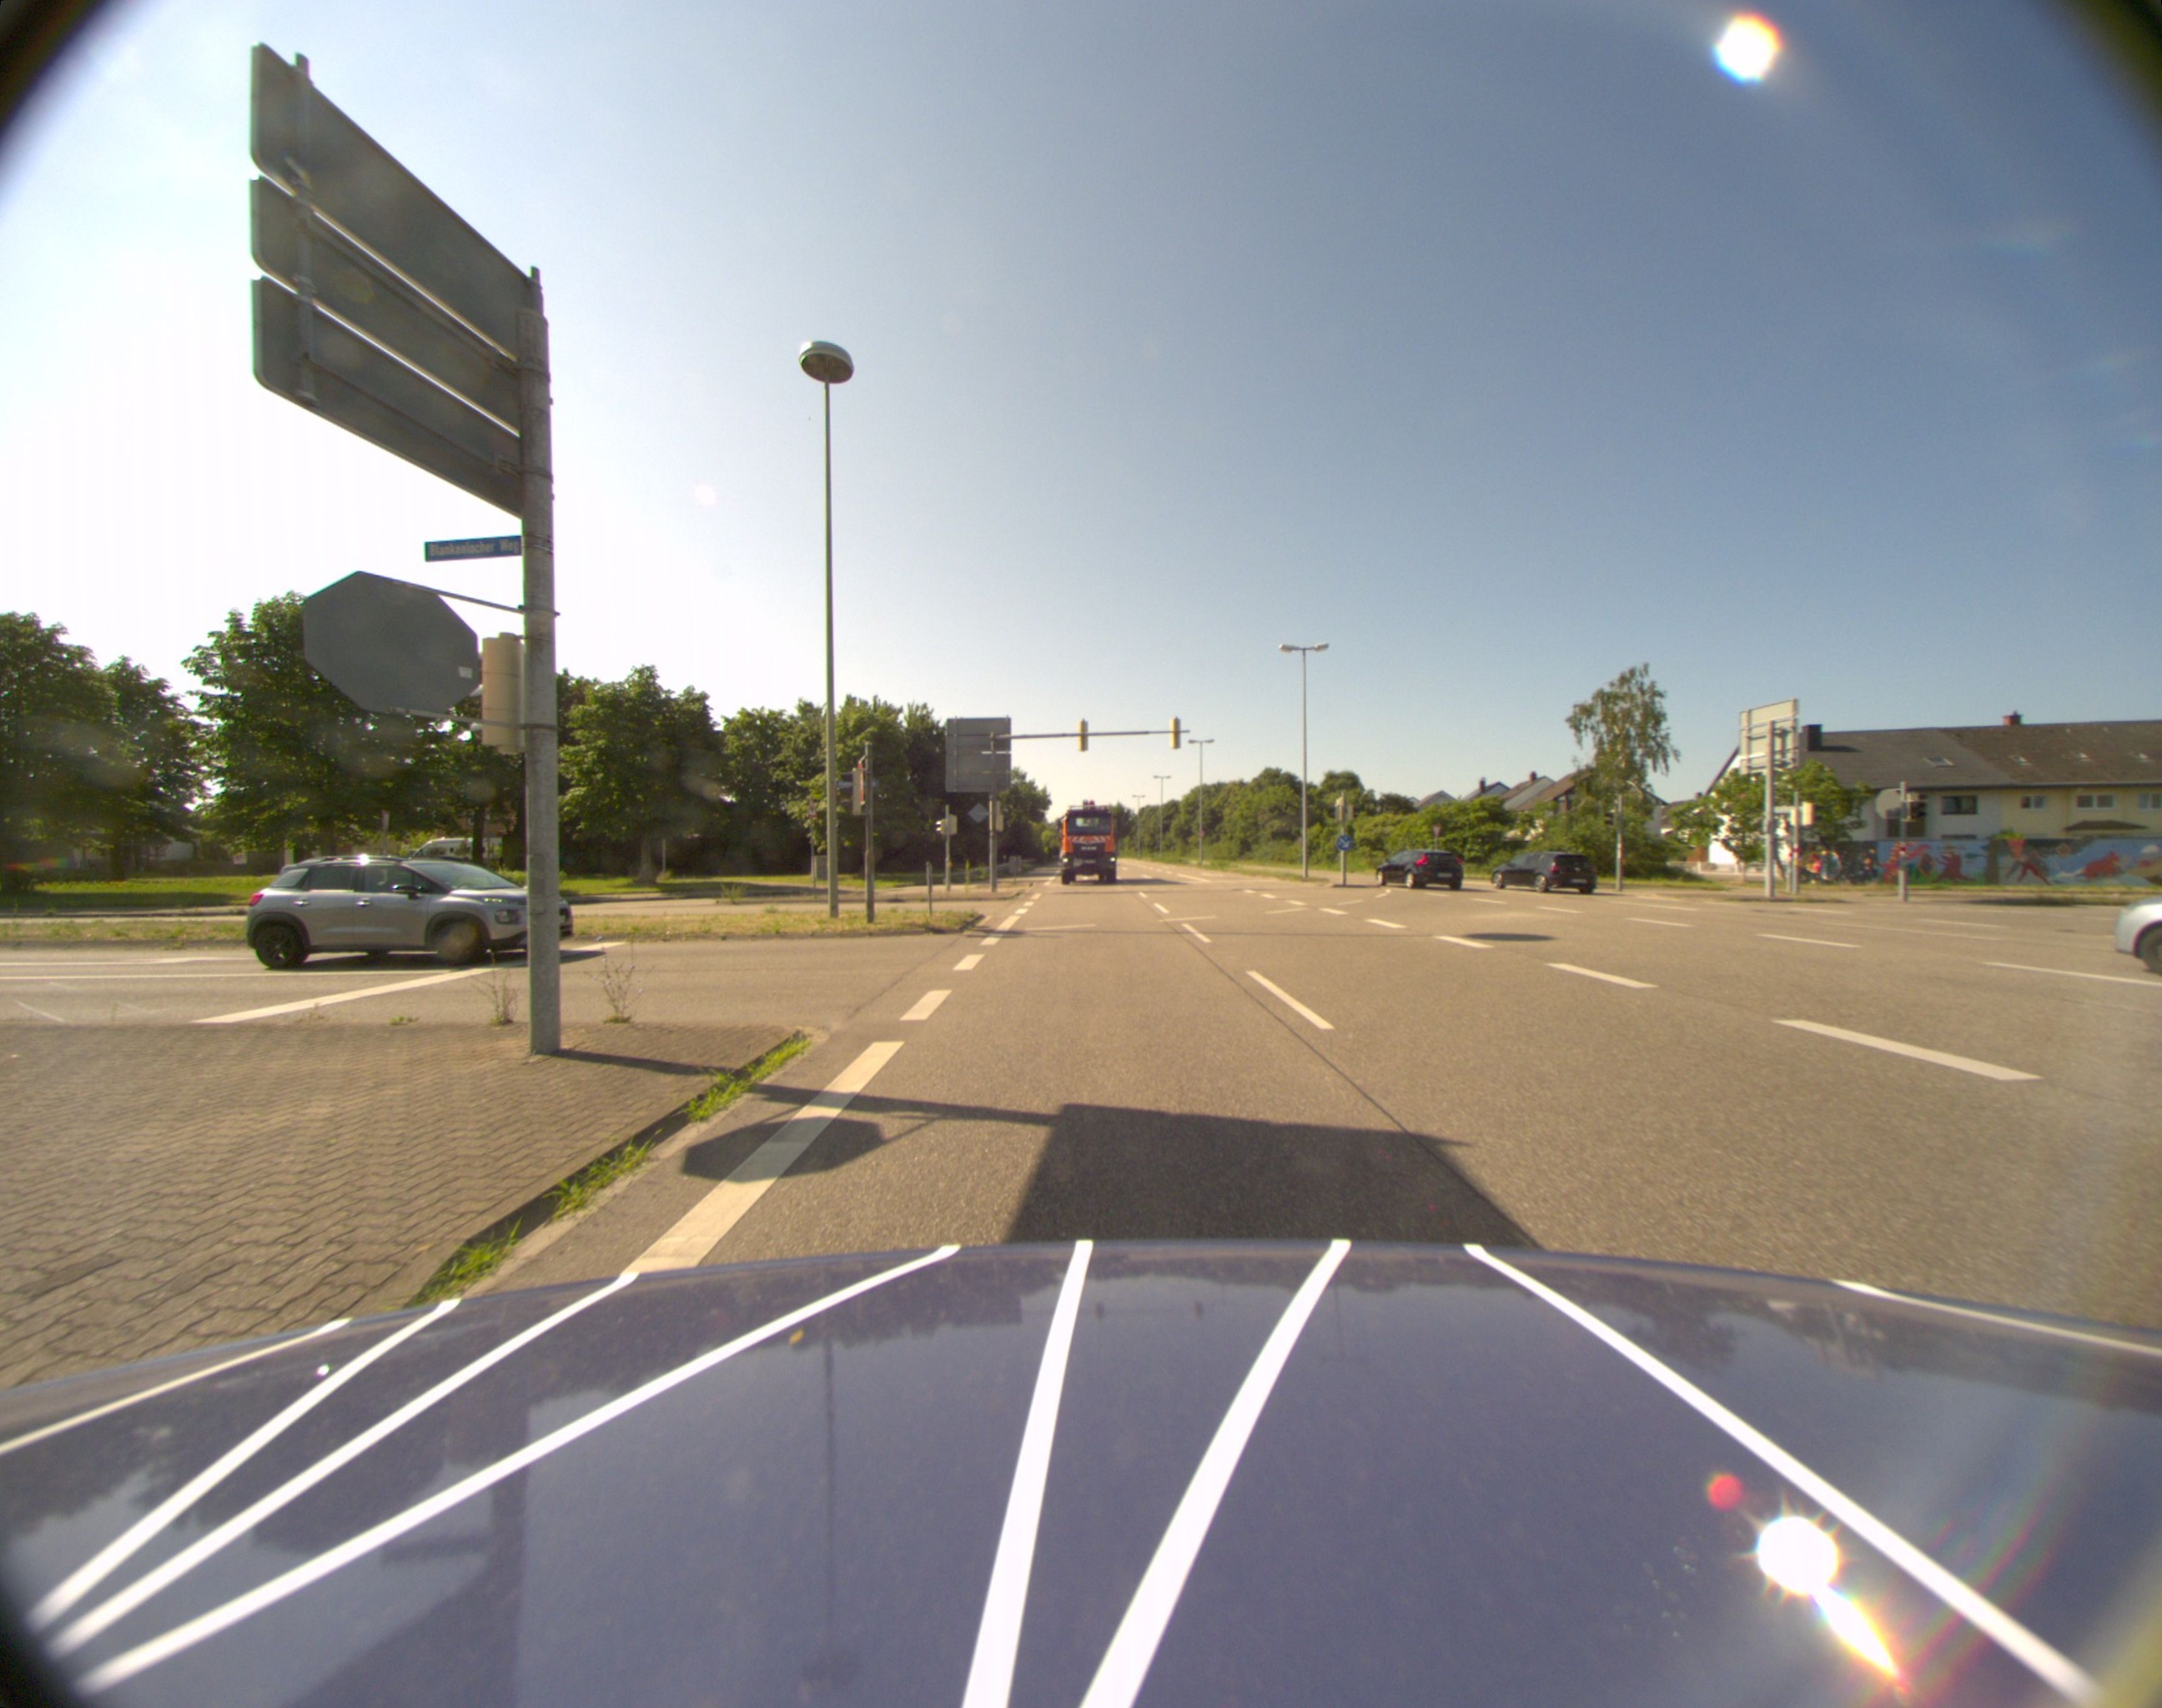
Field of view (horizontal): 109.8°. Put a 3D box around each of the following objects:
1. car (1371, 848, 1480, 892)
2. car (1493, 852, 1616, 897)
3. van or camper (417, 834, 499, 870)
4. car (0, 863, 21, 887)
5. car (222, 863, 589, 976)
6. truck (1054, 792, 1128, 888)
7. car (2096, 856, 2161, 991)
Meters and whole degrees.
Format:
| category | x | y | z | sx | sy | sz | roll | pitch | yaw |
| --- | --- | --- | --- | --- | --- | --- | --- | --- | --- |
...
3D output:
| category | x | y | z | sx | sy | sz | roll | pitch | yaw |
| --- | --- | --- | --- | --- | --- | --- | --- | --- | --- |
| car | 12.428 | 0.520 | 27.747 | 1.986 | 1.449 | 4.331 | 0 | 1 | -1 |
| car | 16.608 | 0.662 | 26.940 | 1.889 | 1.449 | 4.229 | 0 | 1 | 3 |
| van or camper | -50.095 | -0.195 | 61.166 | 4.812 | 2.815 | 1.999 | 0 | 1 | -2 |
| car | -60.927 | 1.205 | 40.998 | 1.731 | 1.281 | 4.000 | 0 | 1 | 2 |
| car | -10.211 | 0.954 | 11.726 | 4.062 | 1.555 | 1.742 | 0 | 1 | 0 |
| truck | 0.440 | -0.628 | 34.773 | 2.940 | 3.853 | 6.590 | -2 | 1 | 1 |
| car | 12.450 | 0.766 | 6.765 | 1.623 | 1.449 | 3.871 | 0 | 1 | 0 |
